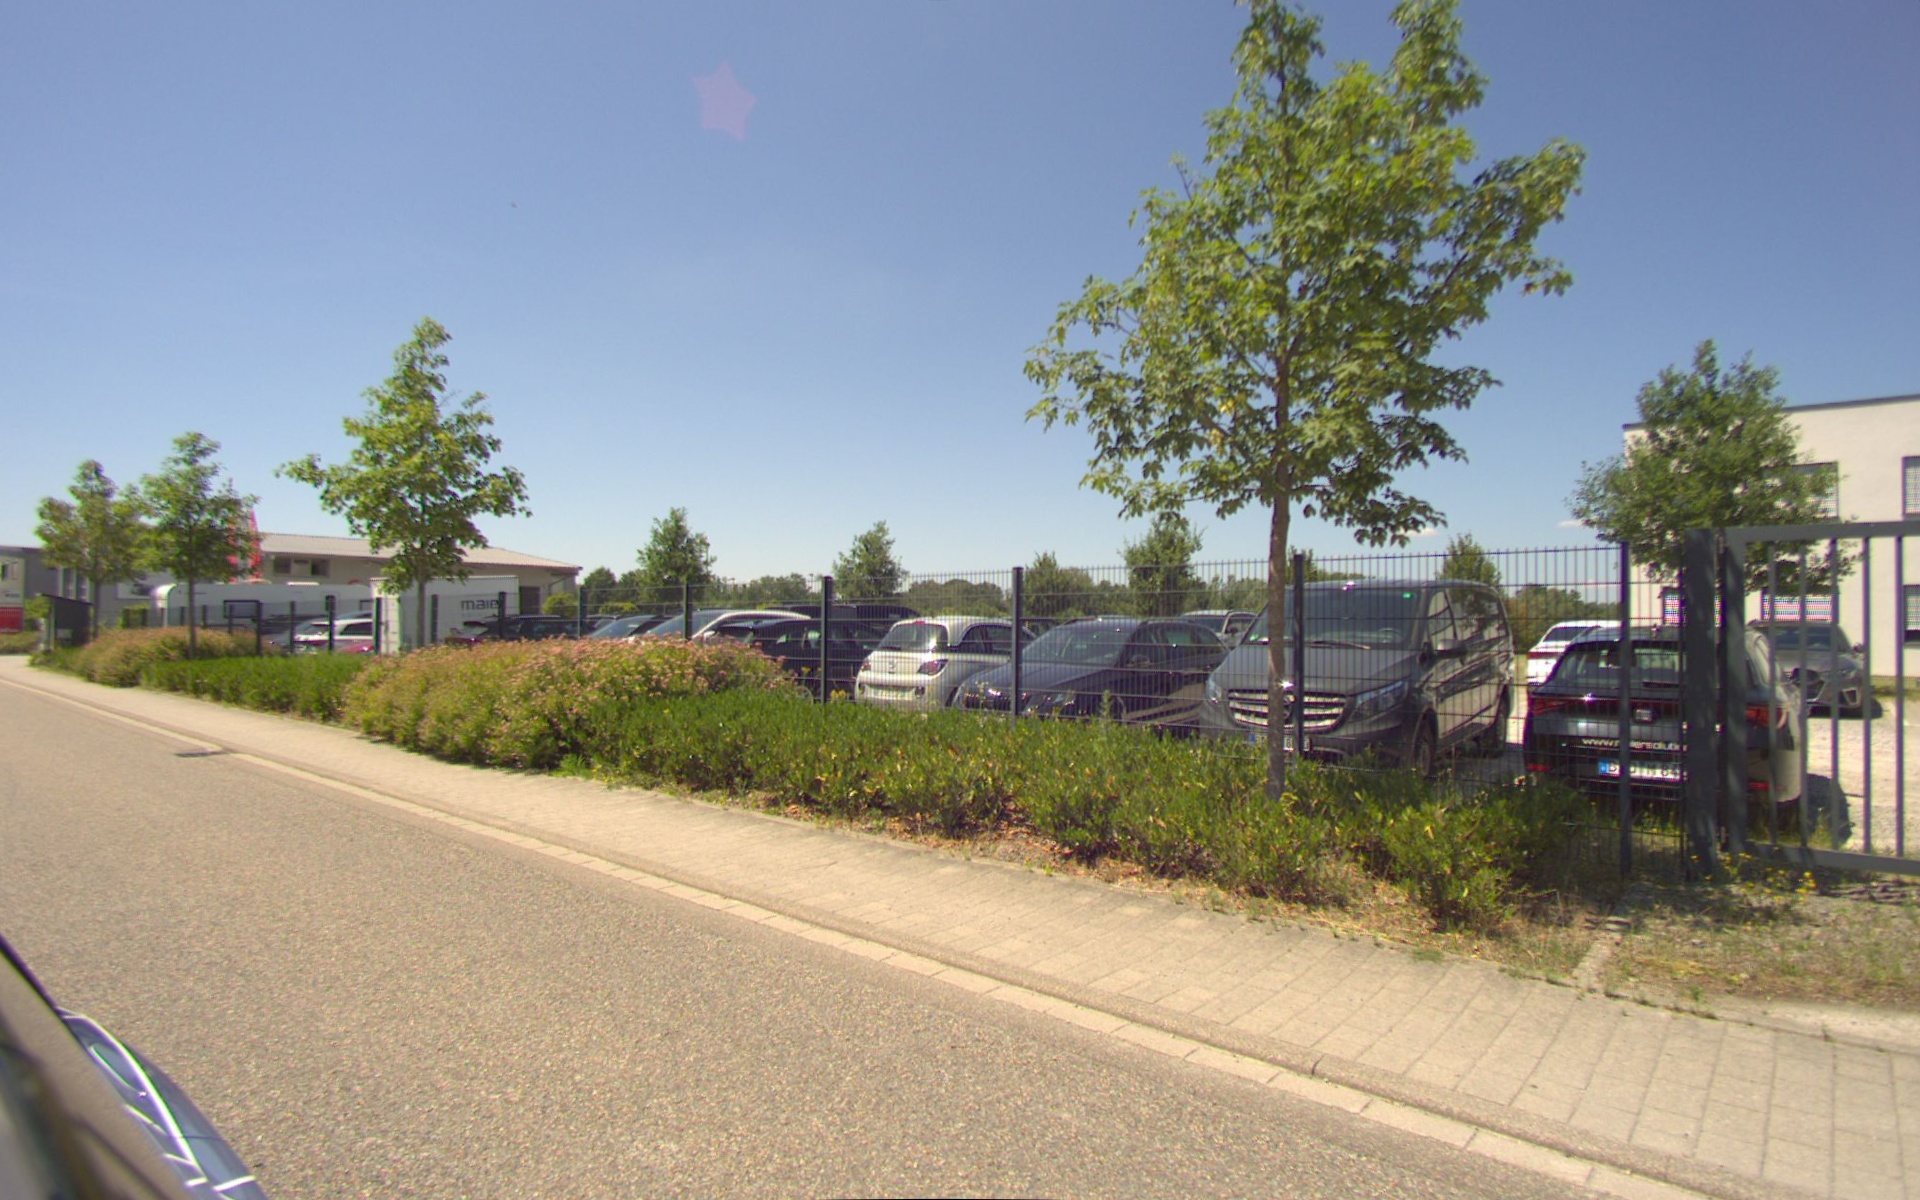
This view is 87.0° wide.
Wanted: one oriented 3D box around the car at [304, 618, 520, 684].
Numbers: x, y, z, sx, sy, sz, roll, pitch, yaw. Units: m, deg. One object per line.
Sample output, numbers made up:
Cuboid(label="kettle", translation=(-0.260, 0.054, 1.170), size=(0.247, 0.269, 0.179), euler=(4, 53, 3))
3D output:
Cuboid(label="car", translation=(-13.153, 1.176, 24.504), size=(1.998, 1.463, 4.165), euler=(-1, -2, 39))

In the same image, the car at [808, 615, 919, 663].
Cuboid(label="car", translation=(-2.740, 1.089, 29.114), size=(1.493, 1.304, 2.980), euler=(-1, -2, 40))

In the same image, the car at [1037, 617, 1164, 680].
Cuboid(label="car", translation=(3.510, 1.141, 24.918), size=(1.476, 1.425, 3.436), euler=(-1, -2, 40))

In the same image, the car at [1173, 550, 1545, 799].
Cuboid(label="car", translation=(4.230, 0.597, 10.146), size=(1.963, 1.865, 5.007), euler=(-1, -1, 40))

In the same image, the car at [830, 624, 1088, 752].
Cuboid(label="car", translation=(0.070, 1.104, 14.100), size=(1.903, 1.510, 3.336), euler=(-1, -1, 40))

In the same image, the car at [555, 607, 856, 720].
Cuboid(label="car", translation=(-4.158, 0.985, 17.198), size=(1.999, 1.641, 4.682), euler=(-2, -2, 41))

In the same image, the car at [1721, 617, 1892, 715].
Cuboid(label="car", translation=(13.504, 0.952, 16.204), size=(1.879, 1.361, 4.065), euler=(-1, -2, 40))

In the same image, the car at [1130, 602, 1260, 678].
Cuboid(label="car", translation=(5.386, 0.866, 22.987), size=(1.476, 1.596, 3.436), euler=(-1, -2, 40))

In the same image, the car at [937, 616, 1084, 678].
Cuboid(label="car", translation=(1.382, 1.182, 26.442), size=(1.861, 1.497, 3.947), euler=(-1, -2, 39))

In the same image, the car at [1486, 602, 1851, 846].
Cuboid(label="car", translation=(5.936, 0.779, 8.319), size=(1.963, 1.457, 4.261), euler=(-1, -1, 40))

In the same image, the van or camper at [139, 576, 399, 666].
Cuboid(label="van or camper", translation=(-22.810, 0.736, 33.726), size=(2.574, 2.704, 6.704), euler=(-2, -2, 41))

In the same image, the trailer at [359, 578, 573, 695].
Cuboid(label="trailer", translation=(-10.960, 0.741, 22.660), size=(1.724, 2.378, 3.949), euler=(-1, 0, 38))

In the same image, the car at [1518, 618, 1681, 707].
Cuboid(label="car", translation=(11.348, 1.009, 17.839), size=(1.879, 1.361, 4.065), euler=(-1, -2, 40))

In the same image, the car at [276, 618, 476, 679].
Cuboid(label="car", translation=(-15.137, 1.220, 26.410), size=(1.775, 1.463, 4.166), euler=(-1, -2, 38))

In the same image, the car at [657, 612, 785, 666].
Cuboid(label="car", translation=(-8.256, 1.323, 35.197), size=(1.998, 1.785, 3.947), euler=(-1, -2, 39))

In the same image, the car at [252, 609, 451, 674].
Cuboid(label="car", translation=(-16.980, 1.127, 28.448), size=(1.773, 1.678, 4.469), euler=(-1, -2, 35))

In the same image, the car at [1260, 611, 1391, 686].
Cuboid(label="car", translation=(7.679, 0.955, 21.126), size=(1.476, 1.425, 3.436), euler=(-1, -2, 40))

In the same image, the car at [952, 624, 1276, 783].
Cuboid(label="car", translation=(1.972, 1.049, 11.971), size=(1.903, 1.510, 4.150), euler=(-1, -1, 40))

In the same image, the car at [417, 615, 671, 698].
Cuboid(label="car", translation=(-8.577, 1.106, 21.175), size=(1.999, 1.547, 4.499), euler=(-2, -2, 41))

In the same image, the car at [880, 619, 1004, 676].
Cuboid(label="car", translation=(-0.445, 1.240, 27.353), size=(1.476, 1.425, 3.436), euler=(-1, -2, 40))
